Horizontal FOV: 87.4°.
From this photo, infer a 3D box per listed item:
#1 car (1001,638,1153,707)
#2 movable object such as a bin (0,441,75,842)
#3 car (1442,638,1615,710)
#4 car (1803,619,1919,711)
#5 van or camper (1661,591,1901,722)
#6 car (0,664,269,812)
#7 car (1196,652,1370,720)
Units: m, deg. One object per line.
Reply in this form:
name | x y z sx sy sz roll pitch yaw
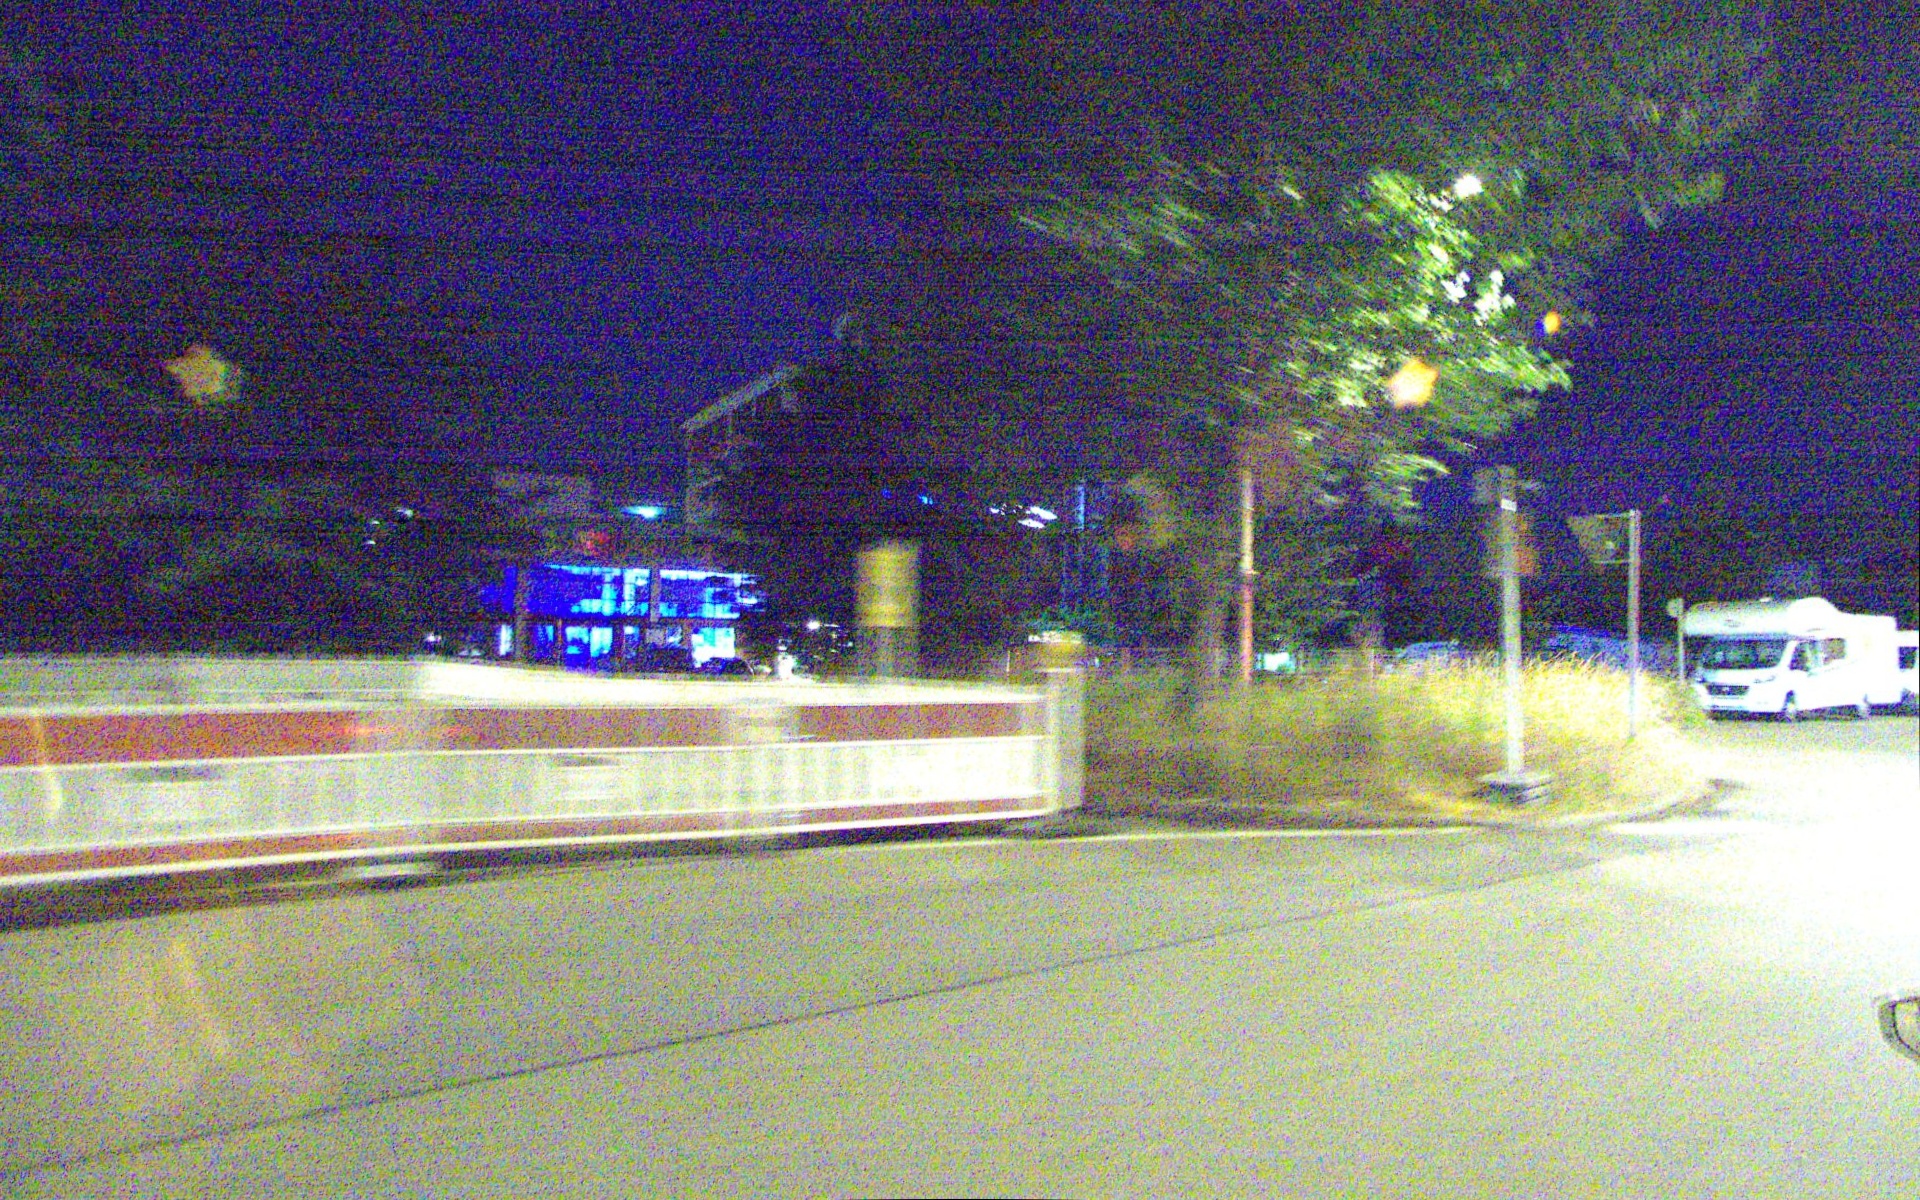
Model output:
car | 4.664 2.904 40.532 5.768 2.588 1.998 1 0 -6
movable object such as a bin | -8.368 0.289 6.596 3.667 2.769 1.559 1 -4 -38
car | 24.571 3.193 43.501 6.555 2.879 1.998 1 0 -6
car | 29.699 2.072 31.865 7.014 2.640 2.506 3 -4 -32
van or camper | 22.111 1.545 26.954 7.357 3.134 2.508 2 -3 -30
car | -16.713 2.646 20.111 4.425 2.588 1.986 1 0 -27
car | 13.243 3.512 41.371 6.555 2.588 1.998 1 0 -6
